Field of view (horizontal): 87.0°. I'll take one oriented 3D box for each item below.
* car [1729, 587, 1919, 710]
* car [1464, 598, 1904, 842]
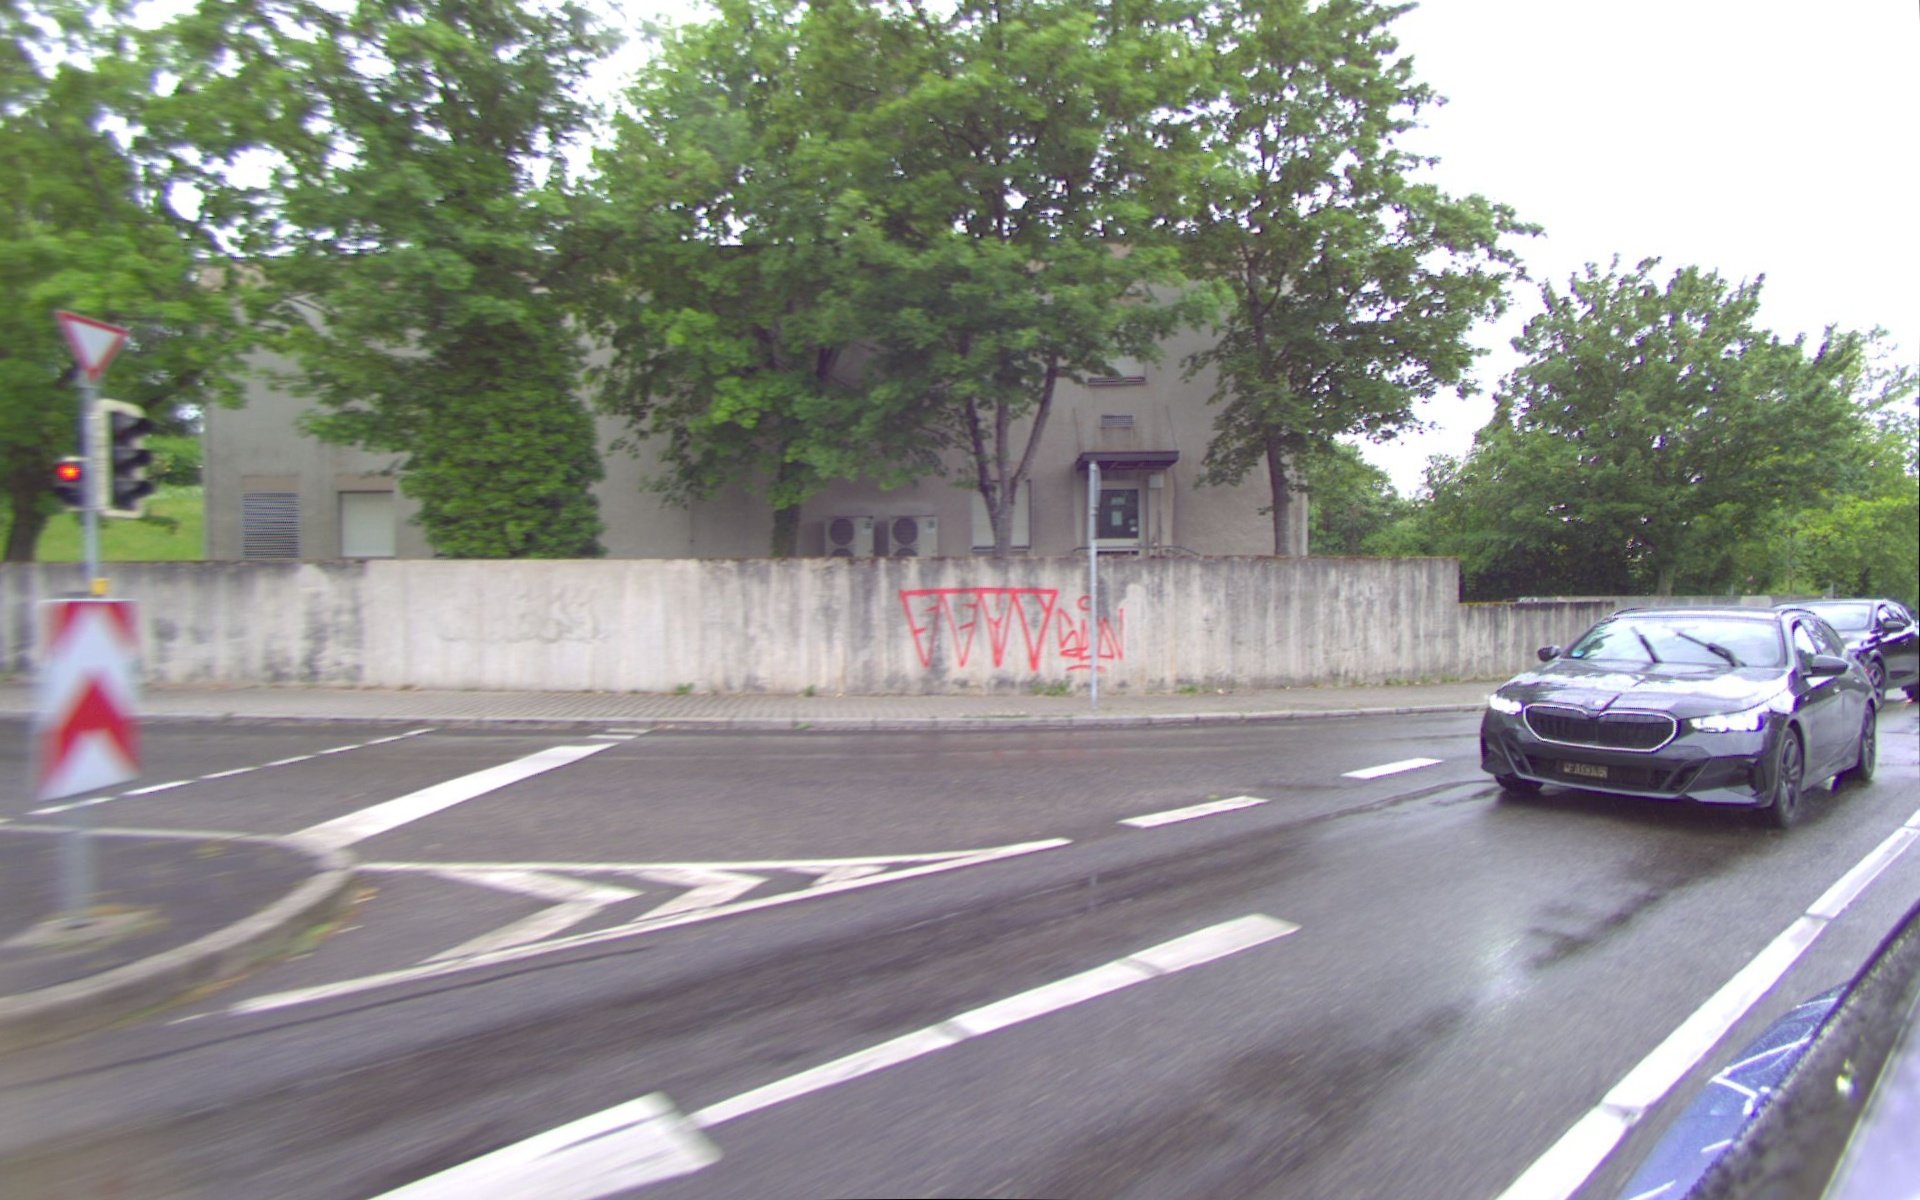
[{"bbox_3d":[13.488,0.656,15.365,4.174,1.624,1.794,0,-1,-37],"label":"car"},{"bbox_3d":[6.191,0.733,8.420,4.693,1.477,1.909,0,0,-40],"label":"car"}]
